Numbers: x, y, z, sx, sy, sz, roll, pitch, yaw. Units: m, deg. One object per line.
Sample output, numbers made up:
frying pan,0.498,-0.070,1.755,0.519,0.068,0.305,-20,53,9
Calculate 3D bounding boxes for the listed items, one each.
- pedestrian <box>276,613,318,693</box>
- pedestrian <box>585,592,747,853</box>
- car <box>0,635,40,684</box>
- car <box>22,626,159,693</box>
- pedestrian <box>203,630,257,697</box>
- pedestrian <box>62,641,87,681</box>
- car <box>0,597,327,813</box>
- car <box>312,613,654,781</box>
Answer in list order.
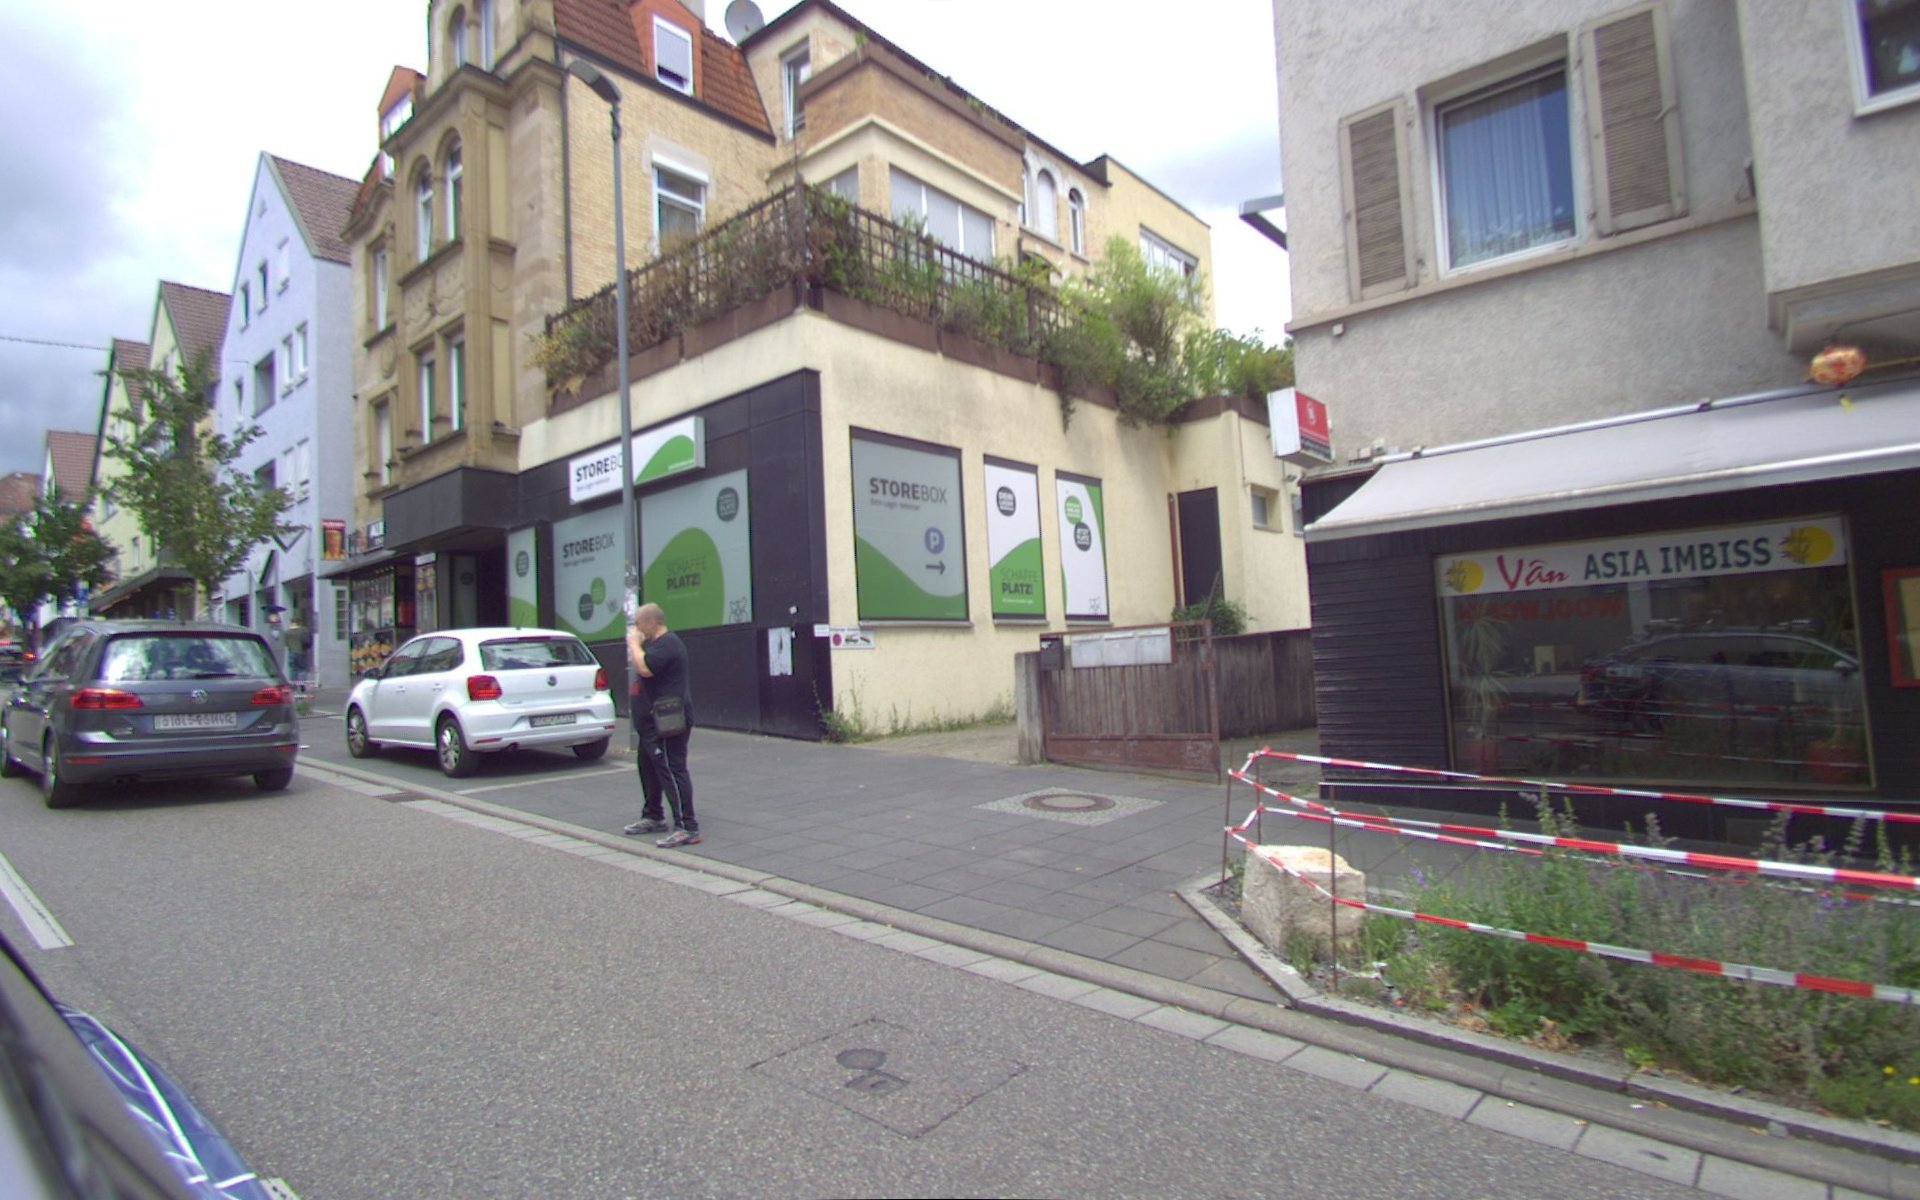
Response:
pedestrian,-14.693,1.158,22.434,0.710,1.726,0.581,-3,-1,41
pedestrian,-2.061,0.808,7.100,0.862,1.685,0.730,-2,-2,38
car,-35.663,2.250,37.327,4.604,1.706,1.986,-4,-2,41
car,-22.517,1.503,26.151,4.838,1.504,1.907,-3,-1,40
pedestrian,-16.948,1.460,23.500,0.809,1.474,0.817,-2,-1,40
pedestrian,-38.652,2.662,44.160,0.835,1.752,0.630,-3,-4,39
car,-7.846,0.879,9.697,4.133,1.630,1.800,-1,-4,40
car,-5.562,0.998,11.568,4.258,1.523,1.907,-3,-1,40
